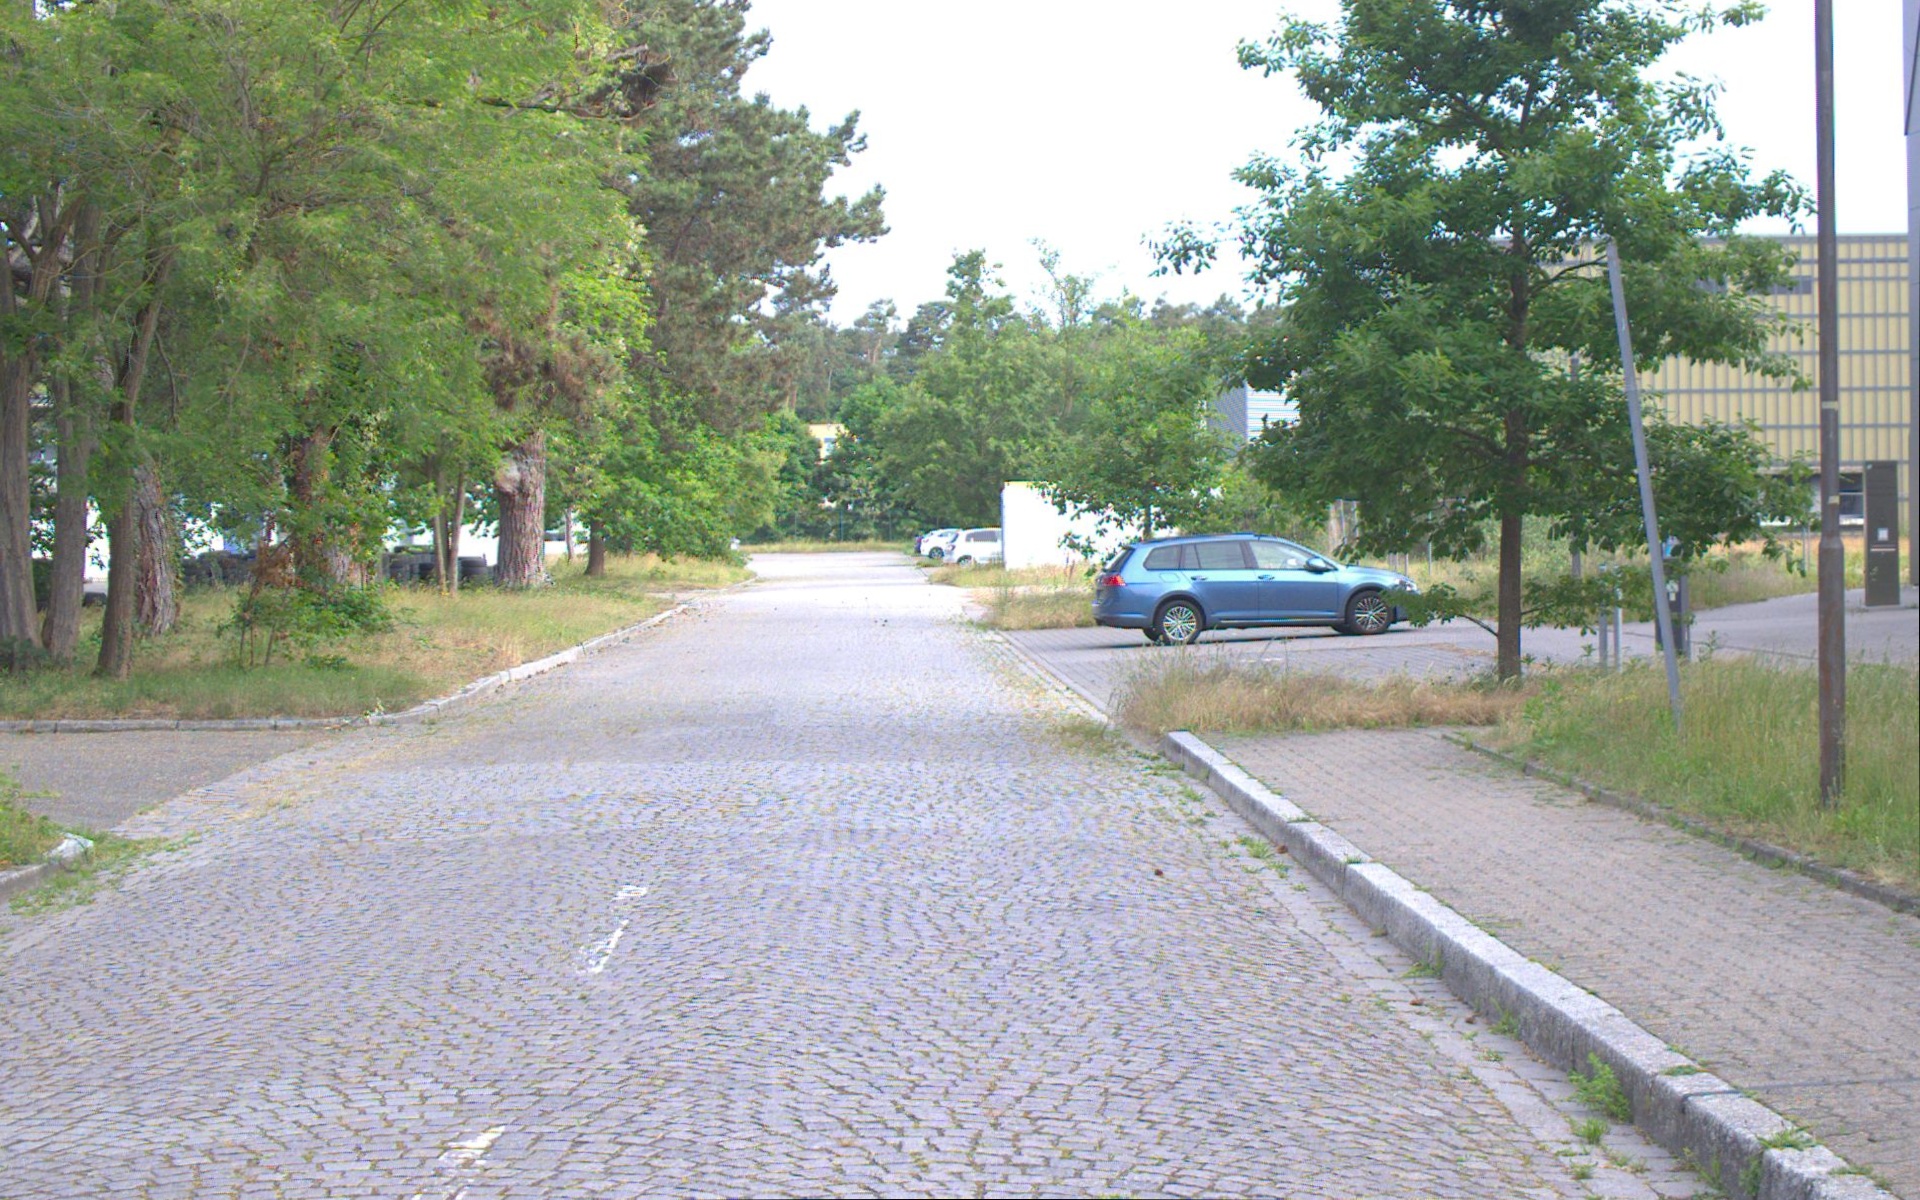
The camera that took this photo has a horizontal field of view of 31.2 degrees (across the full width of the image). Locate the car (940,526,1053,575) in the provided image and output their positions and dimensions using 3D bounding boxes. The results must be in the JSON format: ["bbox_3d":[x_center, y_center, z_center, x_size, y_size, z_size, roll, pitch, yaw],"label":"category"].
[{"bbox_3d":[1.267,-1.760,120.998,3.849,1.649,1.686,-1,1,-4],"label":"car"}]

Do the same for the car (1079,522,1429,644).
[{"bbox_3d":[4.023,-0.255,47.499,4.521,1.438,1.824,-3,1,-5],"label":"car"}]

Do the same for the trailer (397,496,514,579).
[{"bbox_3d":[-19.474,-2.431,133.176,3.158,3.057,8.784,-1,1,0],"label":"trailer"}]

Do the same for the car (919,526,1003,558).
[{"bbox_3d":[0.027,-2.805,167.128,4.025,1.496,1.548,-1,1,-1],"label":"car"}]
